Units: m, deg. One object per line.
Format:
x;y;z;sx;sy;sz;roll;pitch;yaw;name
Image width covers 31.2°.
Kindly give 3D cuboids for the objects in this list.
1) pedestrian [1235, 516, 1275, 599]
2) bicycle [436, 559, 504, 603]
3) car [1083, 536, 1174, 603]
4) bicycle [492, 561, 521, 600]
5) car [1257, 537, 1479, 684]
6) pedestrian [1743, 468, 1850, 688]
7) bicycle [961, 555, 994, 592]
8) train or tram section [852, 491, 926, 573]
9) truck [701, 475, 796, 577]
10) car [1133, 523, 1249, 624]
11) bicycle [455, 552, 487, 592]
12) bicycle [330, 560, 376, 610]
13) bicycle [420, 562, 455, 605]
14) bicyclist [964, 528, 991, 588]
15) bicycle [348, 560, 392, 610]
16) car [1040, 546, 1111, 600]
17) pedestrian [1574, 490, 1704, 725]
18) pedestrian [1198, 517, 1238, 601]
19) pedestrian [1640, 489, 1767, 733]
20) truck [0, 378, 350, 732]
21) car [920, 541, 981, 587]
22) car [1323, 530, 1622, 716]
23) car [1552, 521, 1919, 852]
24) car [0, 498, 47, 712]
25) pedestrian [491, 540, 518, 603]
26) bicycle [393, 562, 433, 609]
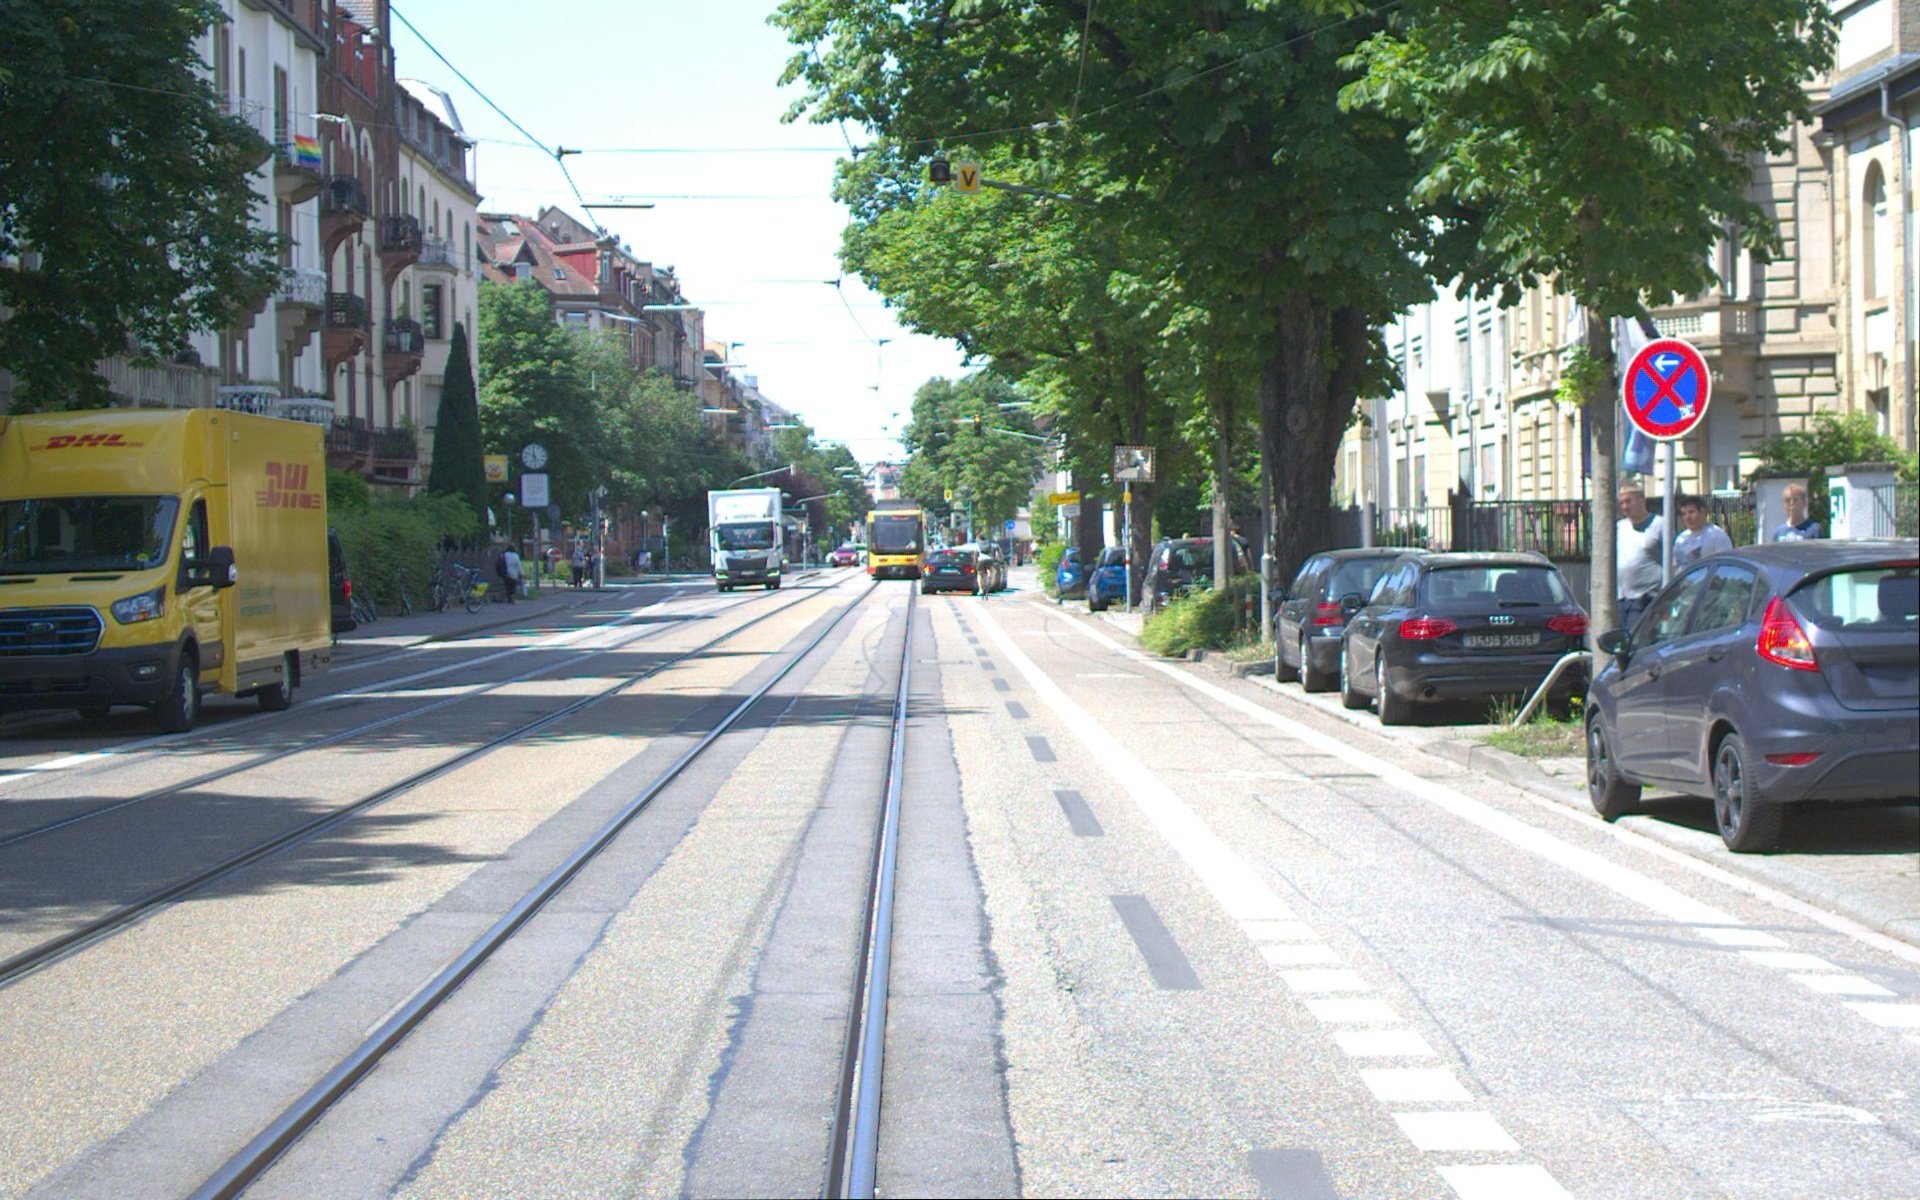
6.684;-0.968;77.820;0.808;1.853;0.623;-1;-1;-2;pedestrian
-11.016;-0.420;77.329;0.544;0.966;1.778;0;-1;29;bicycle
3.775;-0.691;77.698;1.710;1.418;4.310;-1;1;-1;car
-12.038;-0.517;91.304;0.543;0.966;1.781;1;2;0;bicycle
4.245;0.084;36.321;1.710;1.418;4.244;-1;1;-1;car
6.700;-0.176;27.541;0.476;1.731;0.620;-2;0;-36;pedestrian
0.486;-0.719;93.663;0.639;0.966;1.780;1;0;9;bicycle
-3.092;-3.010;152.466;3.035;3.426;11.971;-1;1;0;train or tram section
-7.597;-2.685;124.459;2.939;3.538;8.453;-1;1;-1;truck
3.898;-0.456;58.463;1.592;1.611;3.908;-1;1;-1;car
-12.337;-0.711;86.779;0.543;0.966;1.781;1;1;0;bicycle
-11.876;-0.294;67.284;0.543;0.966;1.990;1;0;0;bicycle
-12.235;-0.400;80.549;0.543;0.966;1.781;1;2;0;bicycle
0.480;-1.138;93.736;0.622;1.610;0.864;1;-1;8;bicyclist
-11.897;-0.292;69.360;0.543;0.966;1.990;1;0;0;bicycle
3.196;-0.754;95.896;1.710;1.418;4.310;-1;1;-1;car
5.473;0.057;27.731;0.575;1.853;0.811;-2;1;-36;pedestrian
5.802;-0.922;77.373;0.808;1.853;0.576;-1;-1;-2;pedestrian
5.759;0.079;26.629;0.575;1.853;0.726;-2;1;-36;pedestrian
-7.557;-0.438;31.739;2.360;2.842;7.378;-2;1;1;truck
-0.290;-1.092;103.755;1.781;1.341;3.416;-1;1;0;car
4.366;0.163;29.943;1.876;1.450;4.528;-1;1;0;car
4.307;0.364;17.525;1.639;1.480;3.874;-1;1;-4;car
-11.377;0.138;32.662;4.749;2.055;2.026;-3;1;-39;car
-11.699;-0.735;88.292;0.572;1.610;0.816;-1;1;0;pedestrian
-11.871;-0.330;74.665;0.543;0.966;1.990;1;2;0;bicycle
